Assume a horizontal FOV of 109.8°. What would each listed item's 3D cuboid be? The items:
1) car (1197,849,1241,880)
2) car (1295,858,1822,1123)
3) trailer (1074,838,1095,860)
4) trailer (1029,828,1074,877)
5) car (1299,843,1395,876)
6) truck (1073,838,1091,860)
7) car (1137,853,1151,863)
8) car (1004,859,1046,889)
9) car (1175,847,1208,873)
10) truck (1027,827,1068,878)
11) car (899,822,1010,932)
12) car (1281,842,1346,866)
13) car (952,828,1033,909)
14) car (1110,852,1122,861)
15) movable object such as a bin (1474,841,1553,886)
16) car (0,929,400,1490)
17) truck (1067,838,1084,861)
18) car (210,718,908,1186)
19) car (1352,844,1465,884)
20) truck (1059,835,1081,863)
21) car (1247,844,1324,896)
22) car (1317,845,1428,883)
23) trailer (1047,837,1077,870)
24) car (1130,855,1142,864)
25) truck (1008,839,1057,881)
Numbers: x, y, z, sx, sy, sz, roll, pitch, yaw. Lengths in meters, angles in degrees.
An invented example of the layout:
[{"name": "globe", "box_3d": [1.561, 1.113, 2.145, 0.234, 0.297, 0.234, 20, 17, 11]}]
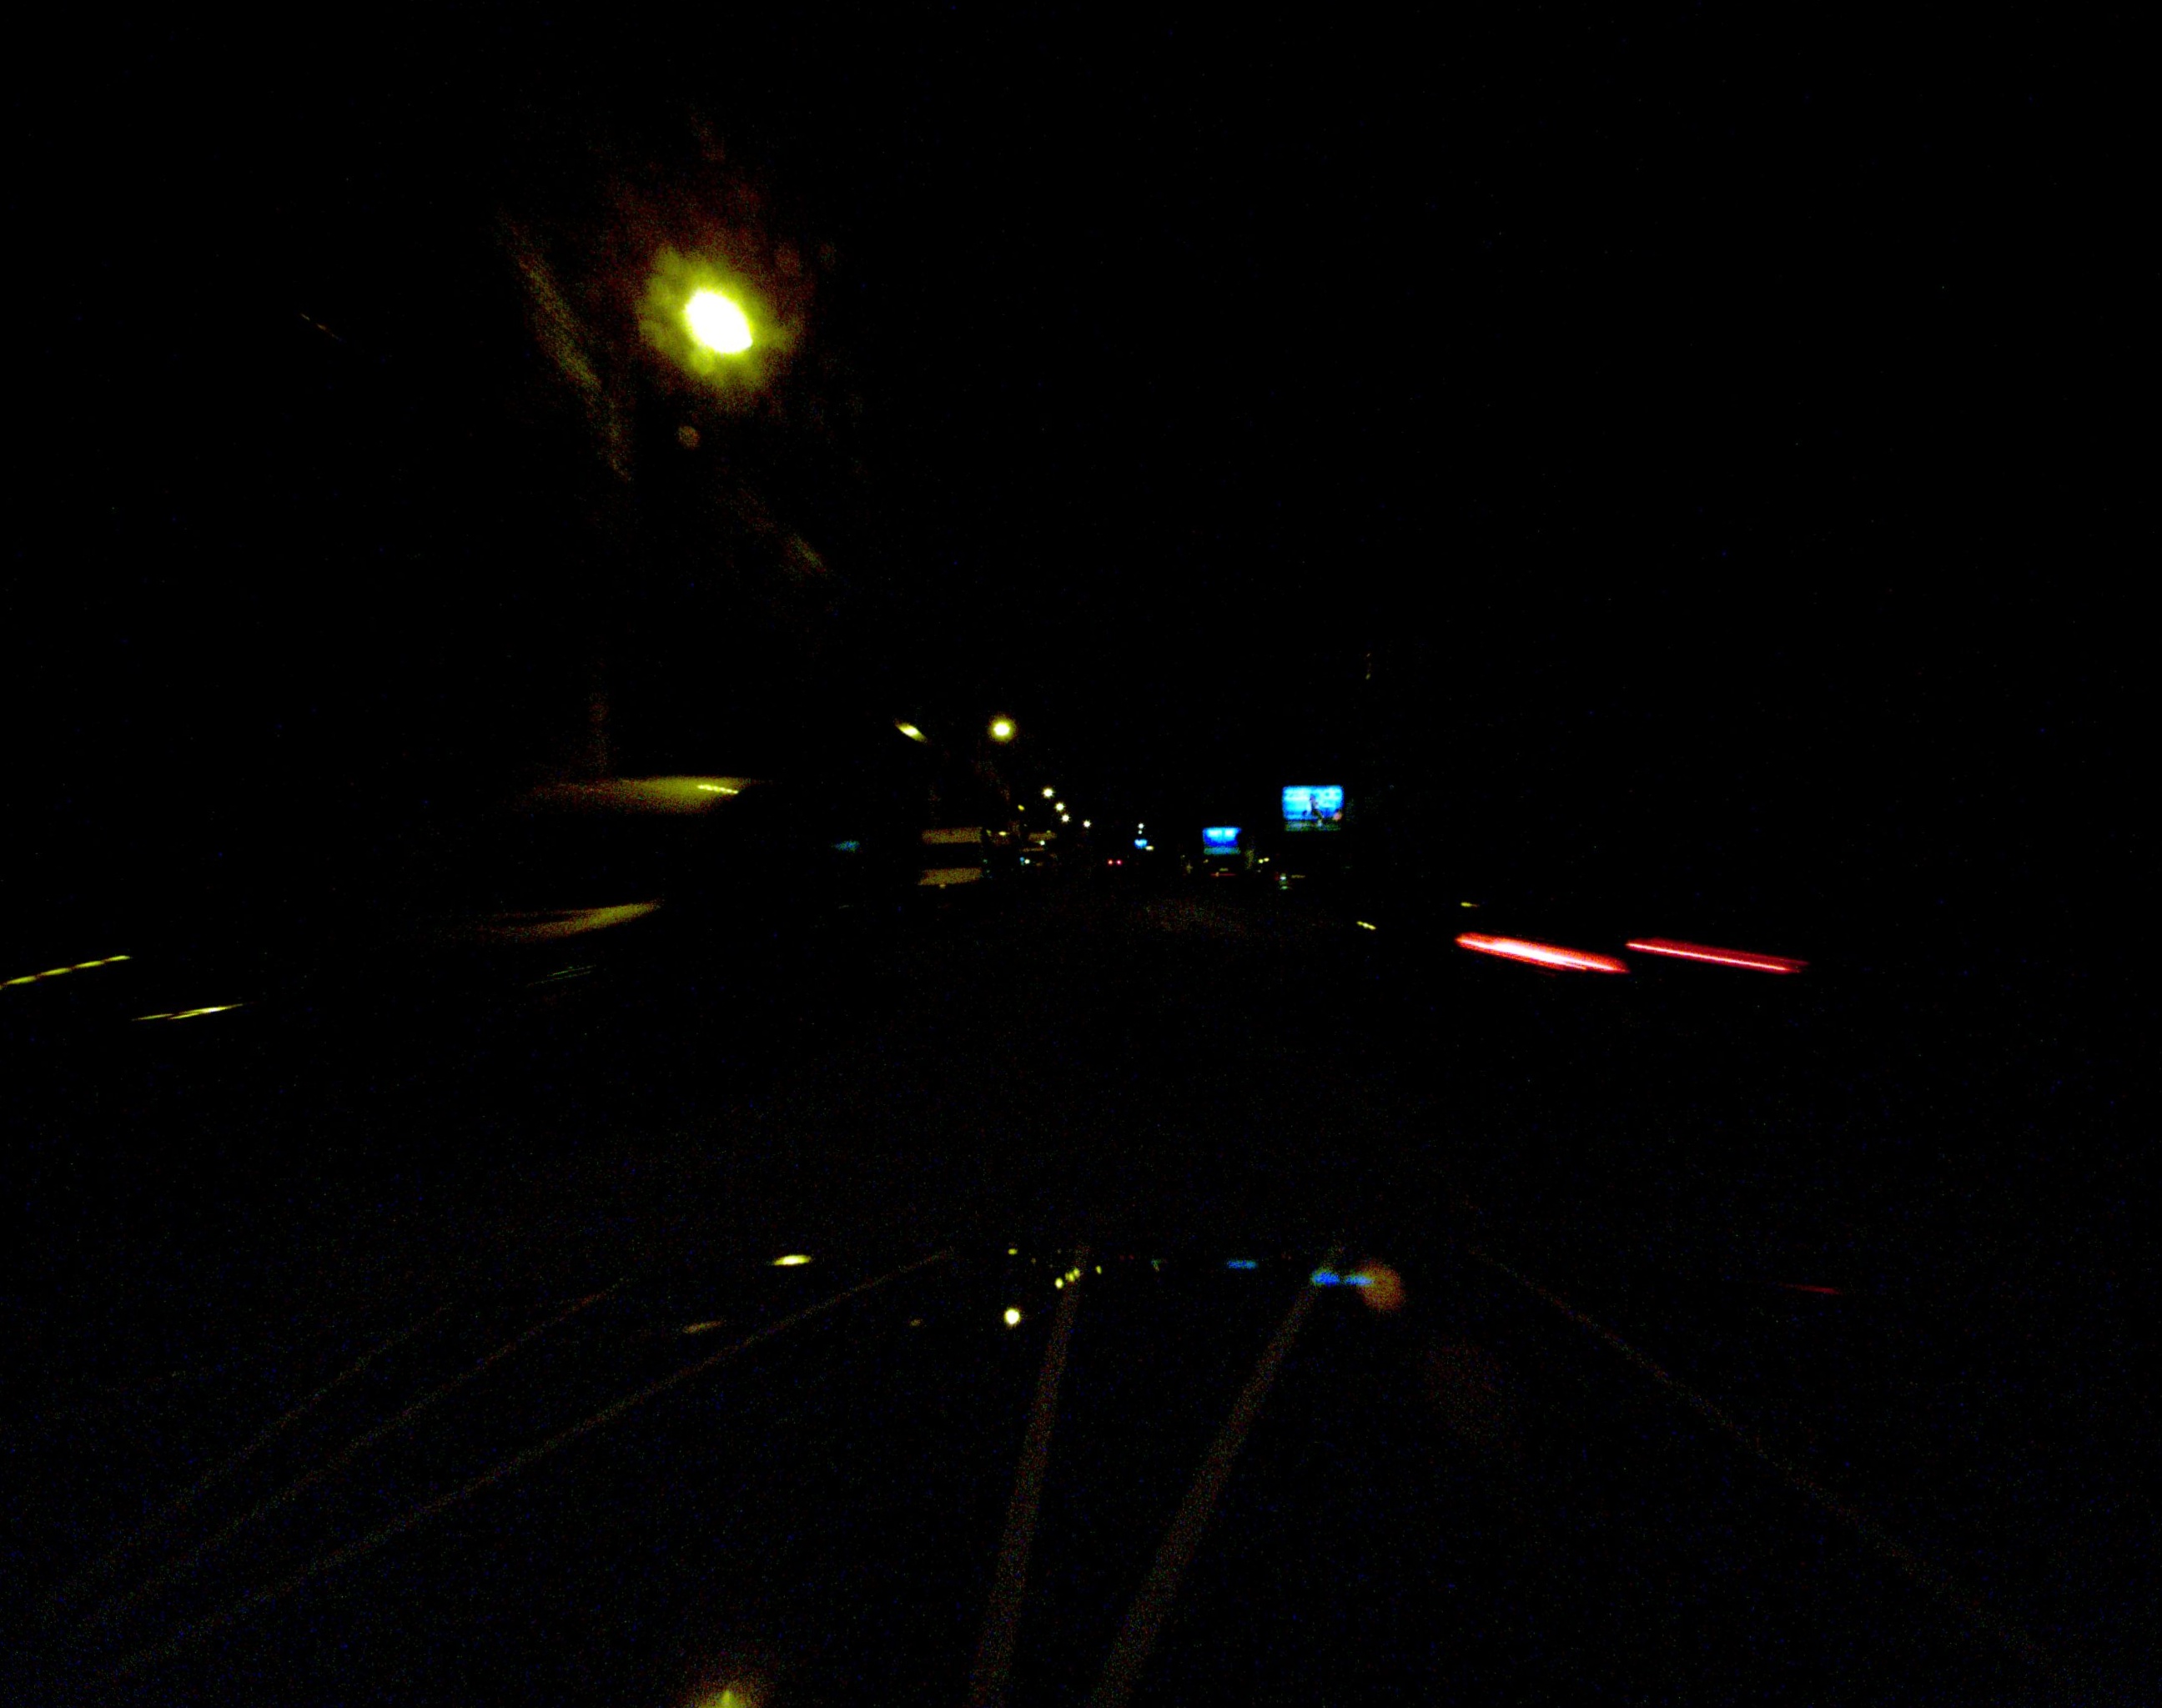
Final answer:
[{"name": "car", "box_3d": [8.039, 0.570, 44.652, 1.951, 1.678, 4.817, -1, 0, 3]}, {"name": "car", "box_3d": [3.263, 0.784, 6.291, 1.862, 1.412, 4.000, -1, 0, 0]}, {"name": "trailer", "box_3d": [0.860, -1.087, 165.206, 3.072, 4.449, 13.414, -3, 1, 5]}, {"name": "trailer", "box_3d": [-2.387, -0.164, 67.096, 2.772, 3.742, 14.655, -3, 0, 2]}, {"name": "car", "box_3d": [13.623, 0.238, 38.923, 4.419, 1.551, 1.996, -1, 1, -23]}, {"name": "truck", "box_3d": [0.217, -0.997, 158.499, 3.072, 4.449, 5.636, -3, 1, 5]}, {"name": "car", "box_3d": [8.934, 0.527, 108.207, 1.760, 1.382, 4.309, -1, 0, 3]}, {"name": "car", "box_3d": [-3.100, 1.084, 42.968, 1.834, 1.399, 4.908, -4, 0, 1]}, {"name": "car", "box_3d": [7.985, 0.444, 55.369, 1.808, 1.788, 4.878, -1, 0, 2]}, {"name": "truck", "box_3d": [-2.579, -0.110, 60.133, 2.772, 3.742, 5.228, -3, 1, 2]}, {"name": "car", "box_3d": [-3.362, 0.570, 21.497, 2.134, 2.556, 5.908, -4, 0, -2]}, {"name": "car", "box_3d": [17.753, -0.001, 58.108, 4.410, 1.644, 1.923, -1, 0, 4]}, {"name": "car", "box_3d": [-3.120, 0.491, 28.206, 1.998, 2.556, 6.014, -4, 0, 1]}, {"name": "car", "box_3d": [5.757, 0.457, 126.041, 1.824, 1.429, 4.398, -1, 0, 2]}, {"name": "movable object such as a bin", "box_3d": [15.045, 0.324, 26.507, 1.862, 1.491, 1.609, -2, 0, 2]}, {"name": "car", "box_3d": [-3.889, 1.035, 0.947, 1.773, 1.404, 4.551, -1, 0, 4]}, {"name": "truck", "box_3d": [-0.943, -0.706, 140.475, 2.659, 3.850, 10.234, -3, -2, 2]}, {"name": "car", "box_3d": [-3.626, 0.563, 7.201, 1.998, 2.511, 5.911, -4, 0, 5]}, {"name": "car", "box_3d": [13.275, 0.373, 30.743, 4.421, 1.432, 1.789, -1, 1, -28]}, {"name": "truck", "box_3d": [-1.654, -0.678, 114.832, 2.797, 3.946, 9.821, -3, 0, 1]}, {"name": "car", "box_3d": [7.855, 0.556, 29.618, 1.818, 1.838, 4.414, -1, 0, 0]}, {"name": "car", "box_3d": [12.980, 0.399, 33.755, 4.678, 1.542, 1.995, -1, 1, -28]}, {"name": "trailer", "box_3d": [-2.037, -0.072, 86.498, 2.885, 3.504, 8.284, -1, 0, 2]}, {"name": "car", "box_3d": [9.157, 0.836, 127.212, 1.690, 1.357, 3.879, -3, 1, 2]}, {"name": "truck", "box_3d": [-3.079, 0.370, 50.207, 2.407, 2.579, 6.598, -2, 0, 3]}]
